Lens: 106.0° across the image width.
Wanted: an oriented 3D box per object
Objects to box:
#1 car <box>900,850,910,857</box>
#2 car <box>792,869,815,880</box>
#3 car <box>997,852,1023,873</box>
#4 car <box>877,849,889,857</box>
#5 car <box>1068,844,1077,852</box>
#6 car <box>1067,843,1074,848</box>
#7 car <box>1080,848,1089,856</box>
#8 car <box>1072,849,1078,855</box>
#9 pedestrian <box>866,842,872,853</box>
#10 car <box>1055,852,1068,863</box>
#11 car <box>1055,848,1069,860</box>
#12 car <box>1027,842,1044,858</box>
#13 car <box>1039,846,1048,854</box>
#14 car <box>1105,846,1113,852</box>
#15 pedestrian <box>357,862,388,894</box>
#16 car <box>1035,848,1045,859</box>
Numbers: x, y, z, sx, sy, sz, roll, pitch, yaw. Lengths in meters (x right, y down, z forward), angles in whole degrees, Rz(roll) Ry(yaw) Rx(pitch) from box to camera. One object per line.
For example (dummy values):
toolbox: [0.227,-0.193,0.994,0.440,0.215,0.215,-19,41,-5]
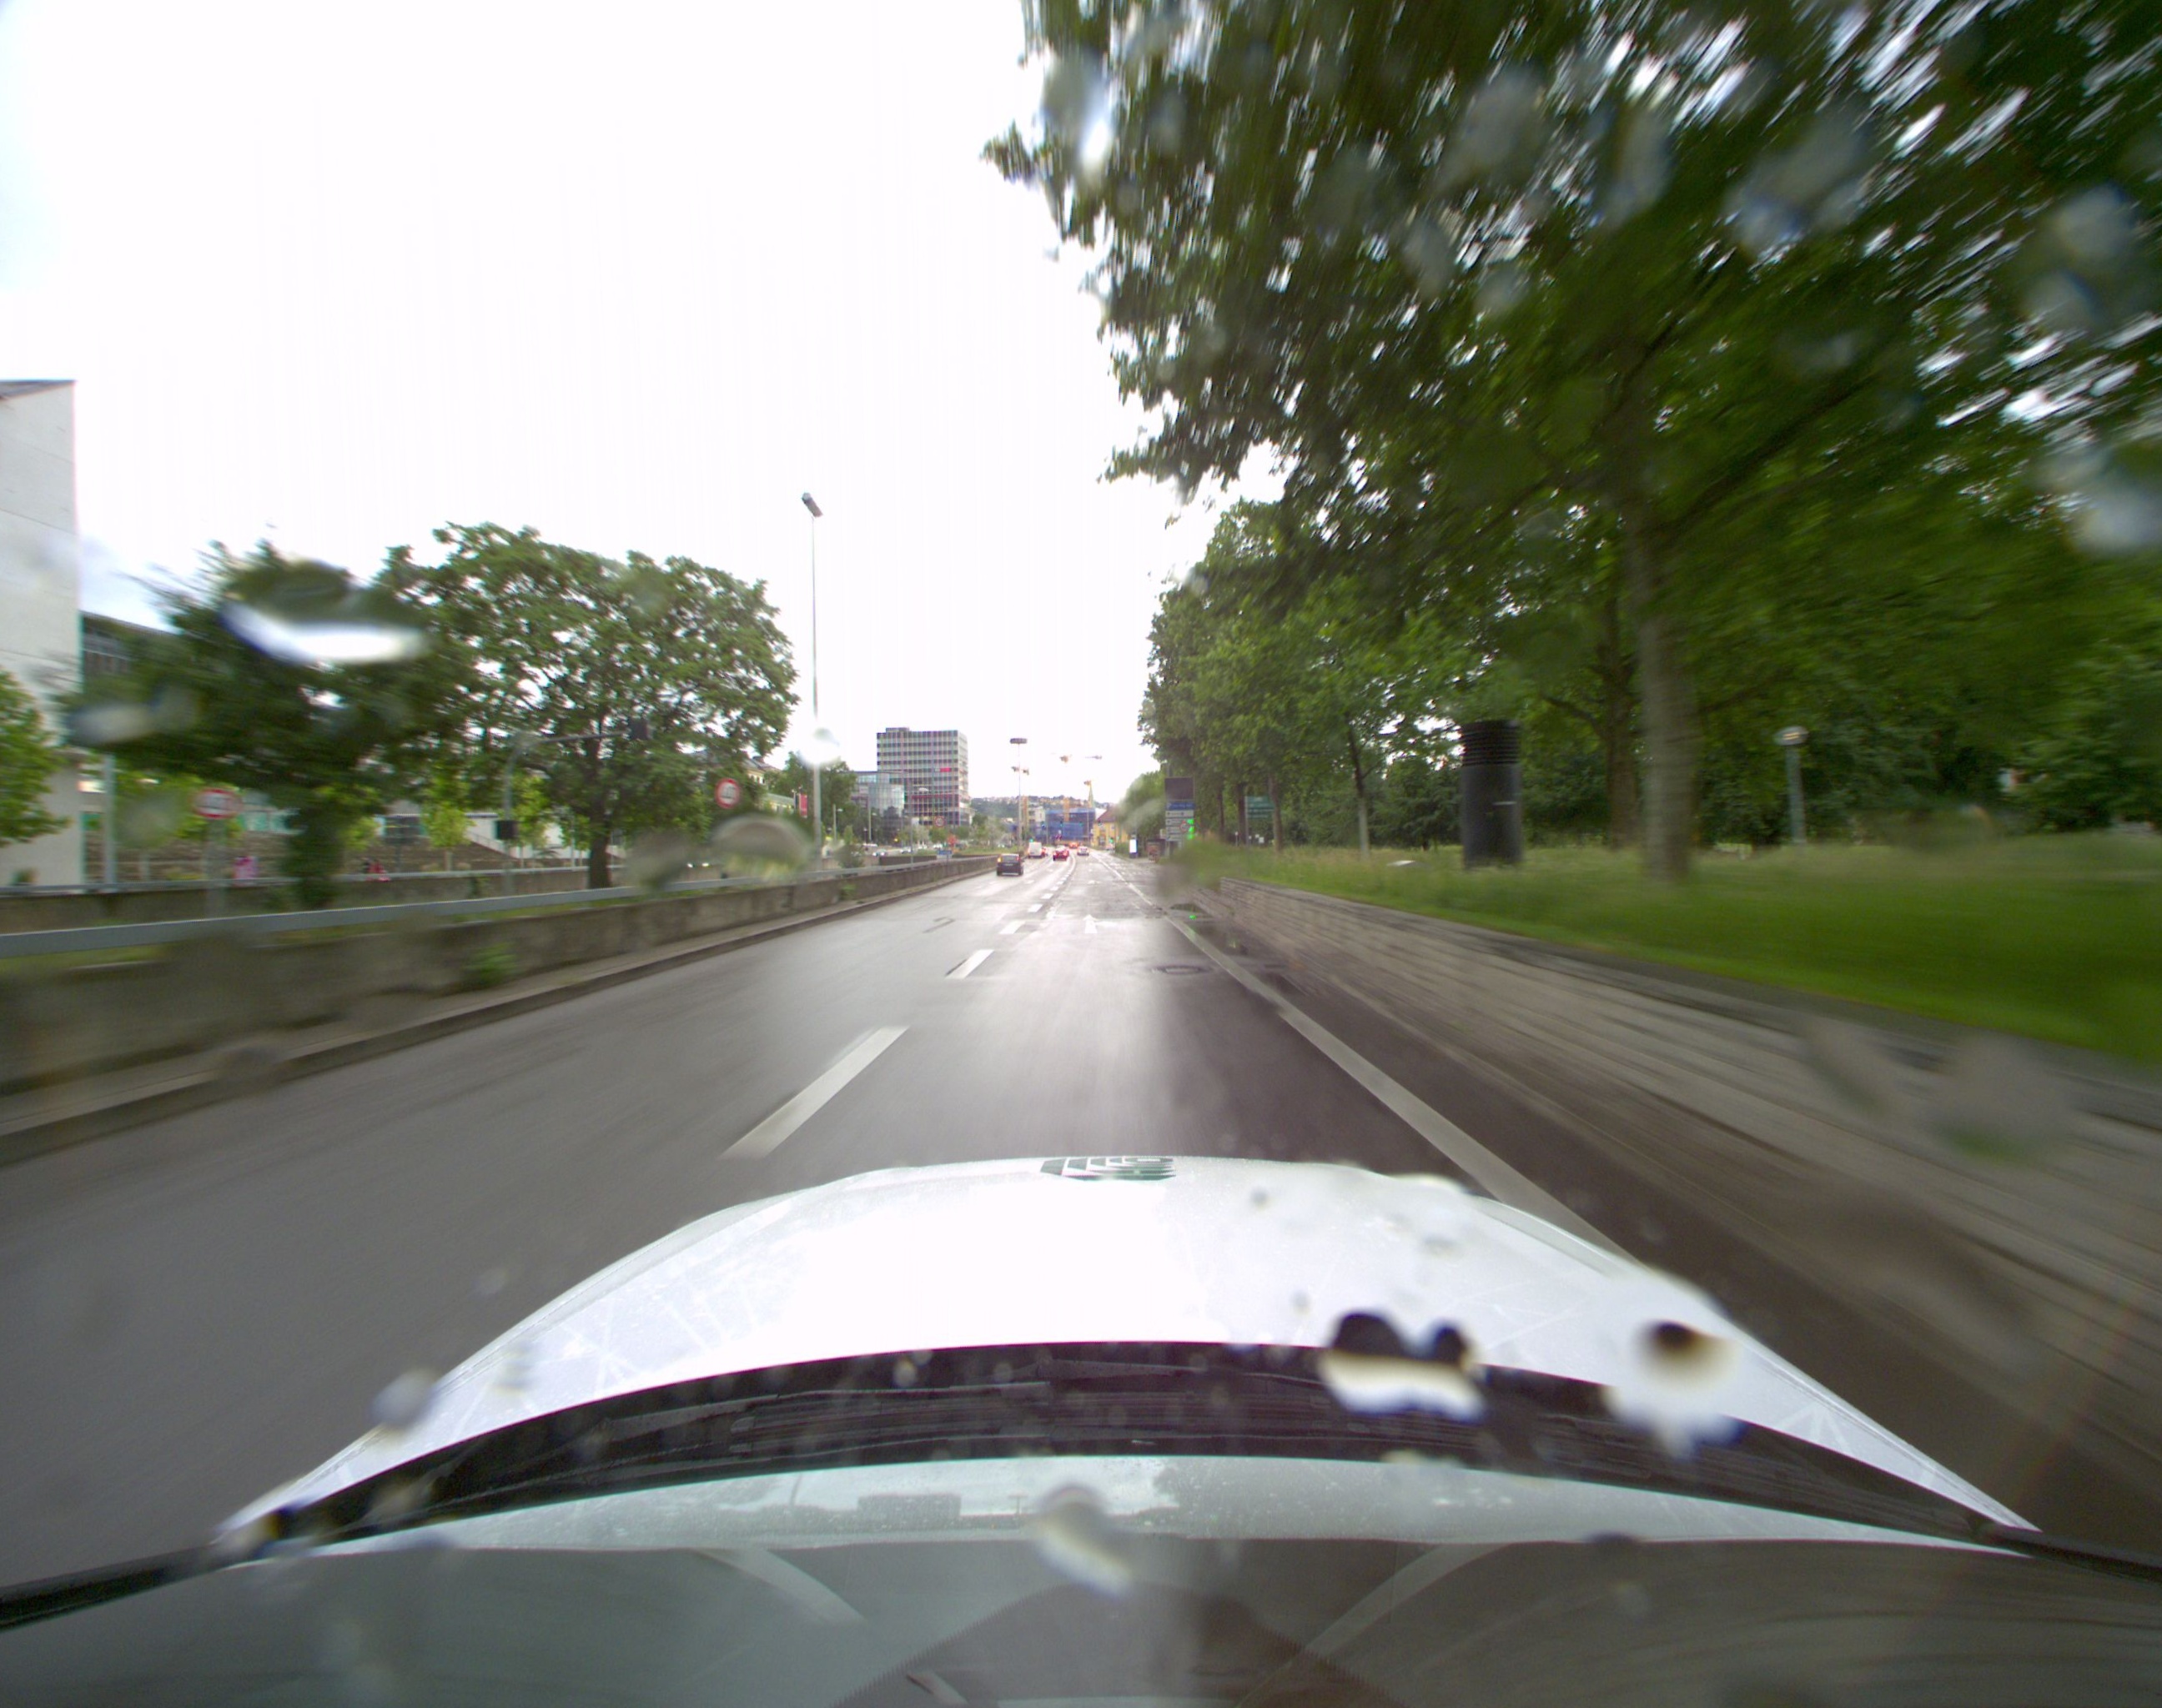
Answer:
car: [-35.291,-0.109,163.196,1.460,1.440,2.961,0,0,-1]
car: [-29.591,2.158,86.892,1.483,1.129,3.049,0,0,-1]
car: [-4.768,0.569,55.237,1.538,1.415,3.898,0,0,-2]
car: [-34.156,-0.098,140.755,1.339,1.352,2.931,0,0,1]
car: [-2.186,-1.435,204.507,2.153,1.879,3.772,0,0,2]
car: [-2.783,-2.250,216.841,1.473,1.360,3.138,0,0,3]
car: [0.592,-0.344,137.133,1.439,1.359,2.413,0,0,2]
car: [-1.027,-0.362,143.457,1.072,0.990,1.972,0,-1,2]
pedestrian: [-40.811,-1.253,156.778,0.717,2.090,0.774,4,7,39]
car: [-2.954,0.496,123.947,1.877,1.652,3.453,0,0,-4]
car: [-2.535,0.022,108.831,1.749,1.471,4.219,0,1,-2]
car: [-6.623,-0.616,119.317,2.285,2.314,5.004,0,0,0]
car: [-6.231,-0.599,135.348,1.547,1.260,2.579,0,0,-1]
car: [6.282,-1.109,182.438,1.630,1.174,3.267,0,-1,2]
pedestrian: [-41.757,1.422,48.019,1.083,1.866,0.829,0,-1,-3]
car: [-6.358,-0.056,125.713,1.461,1.706,3.138,0,0,-3]
